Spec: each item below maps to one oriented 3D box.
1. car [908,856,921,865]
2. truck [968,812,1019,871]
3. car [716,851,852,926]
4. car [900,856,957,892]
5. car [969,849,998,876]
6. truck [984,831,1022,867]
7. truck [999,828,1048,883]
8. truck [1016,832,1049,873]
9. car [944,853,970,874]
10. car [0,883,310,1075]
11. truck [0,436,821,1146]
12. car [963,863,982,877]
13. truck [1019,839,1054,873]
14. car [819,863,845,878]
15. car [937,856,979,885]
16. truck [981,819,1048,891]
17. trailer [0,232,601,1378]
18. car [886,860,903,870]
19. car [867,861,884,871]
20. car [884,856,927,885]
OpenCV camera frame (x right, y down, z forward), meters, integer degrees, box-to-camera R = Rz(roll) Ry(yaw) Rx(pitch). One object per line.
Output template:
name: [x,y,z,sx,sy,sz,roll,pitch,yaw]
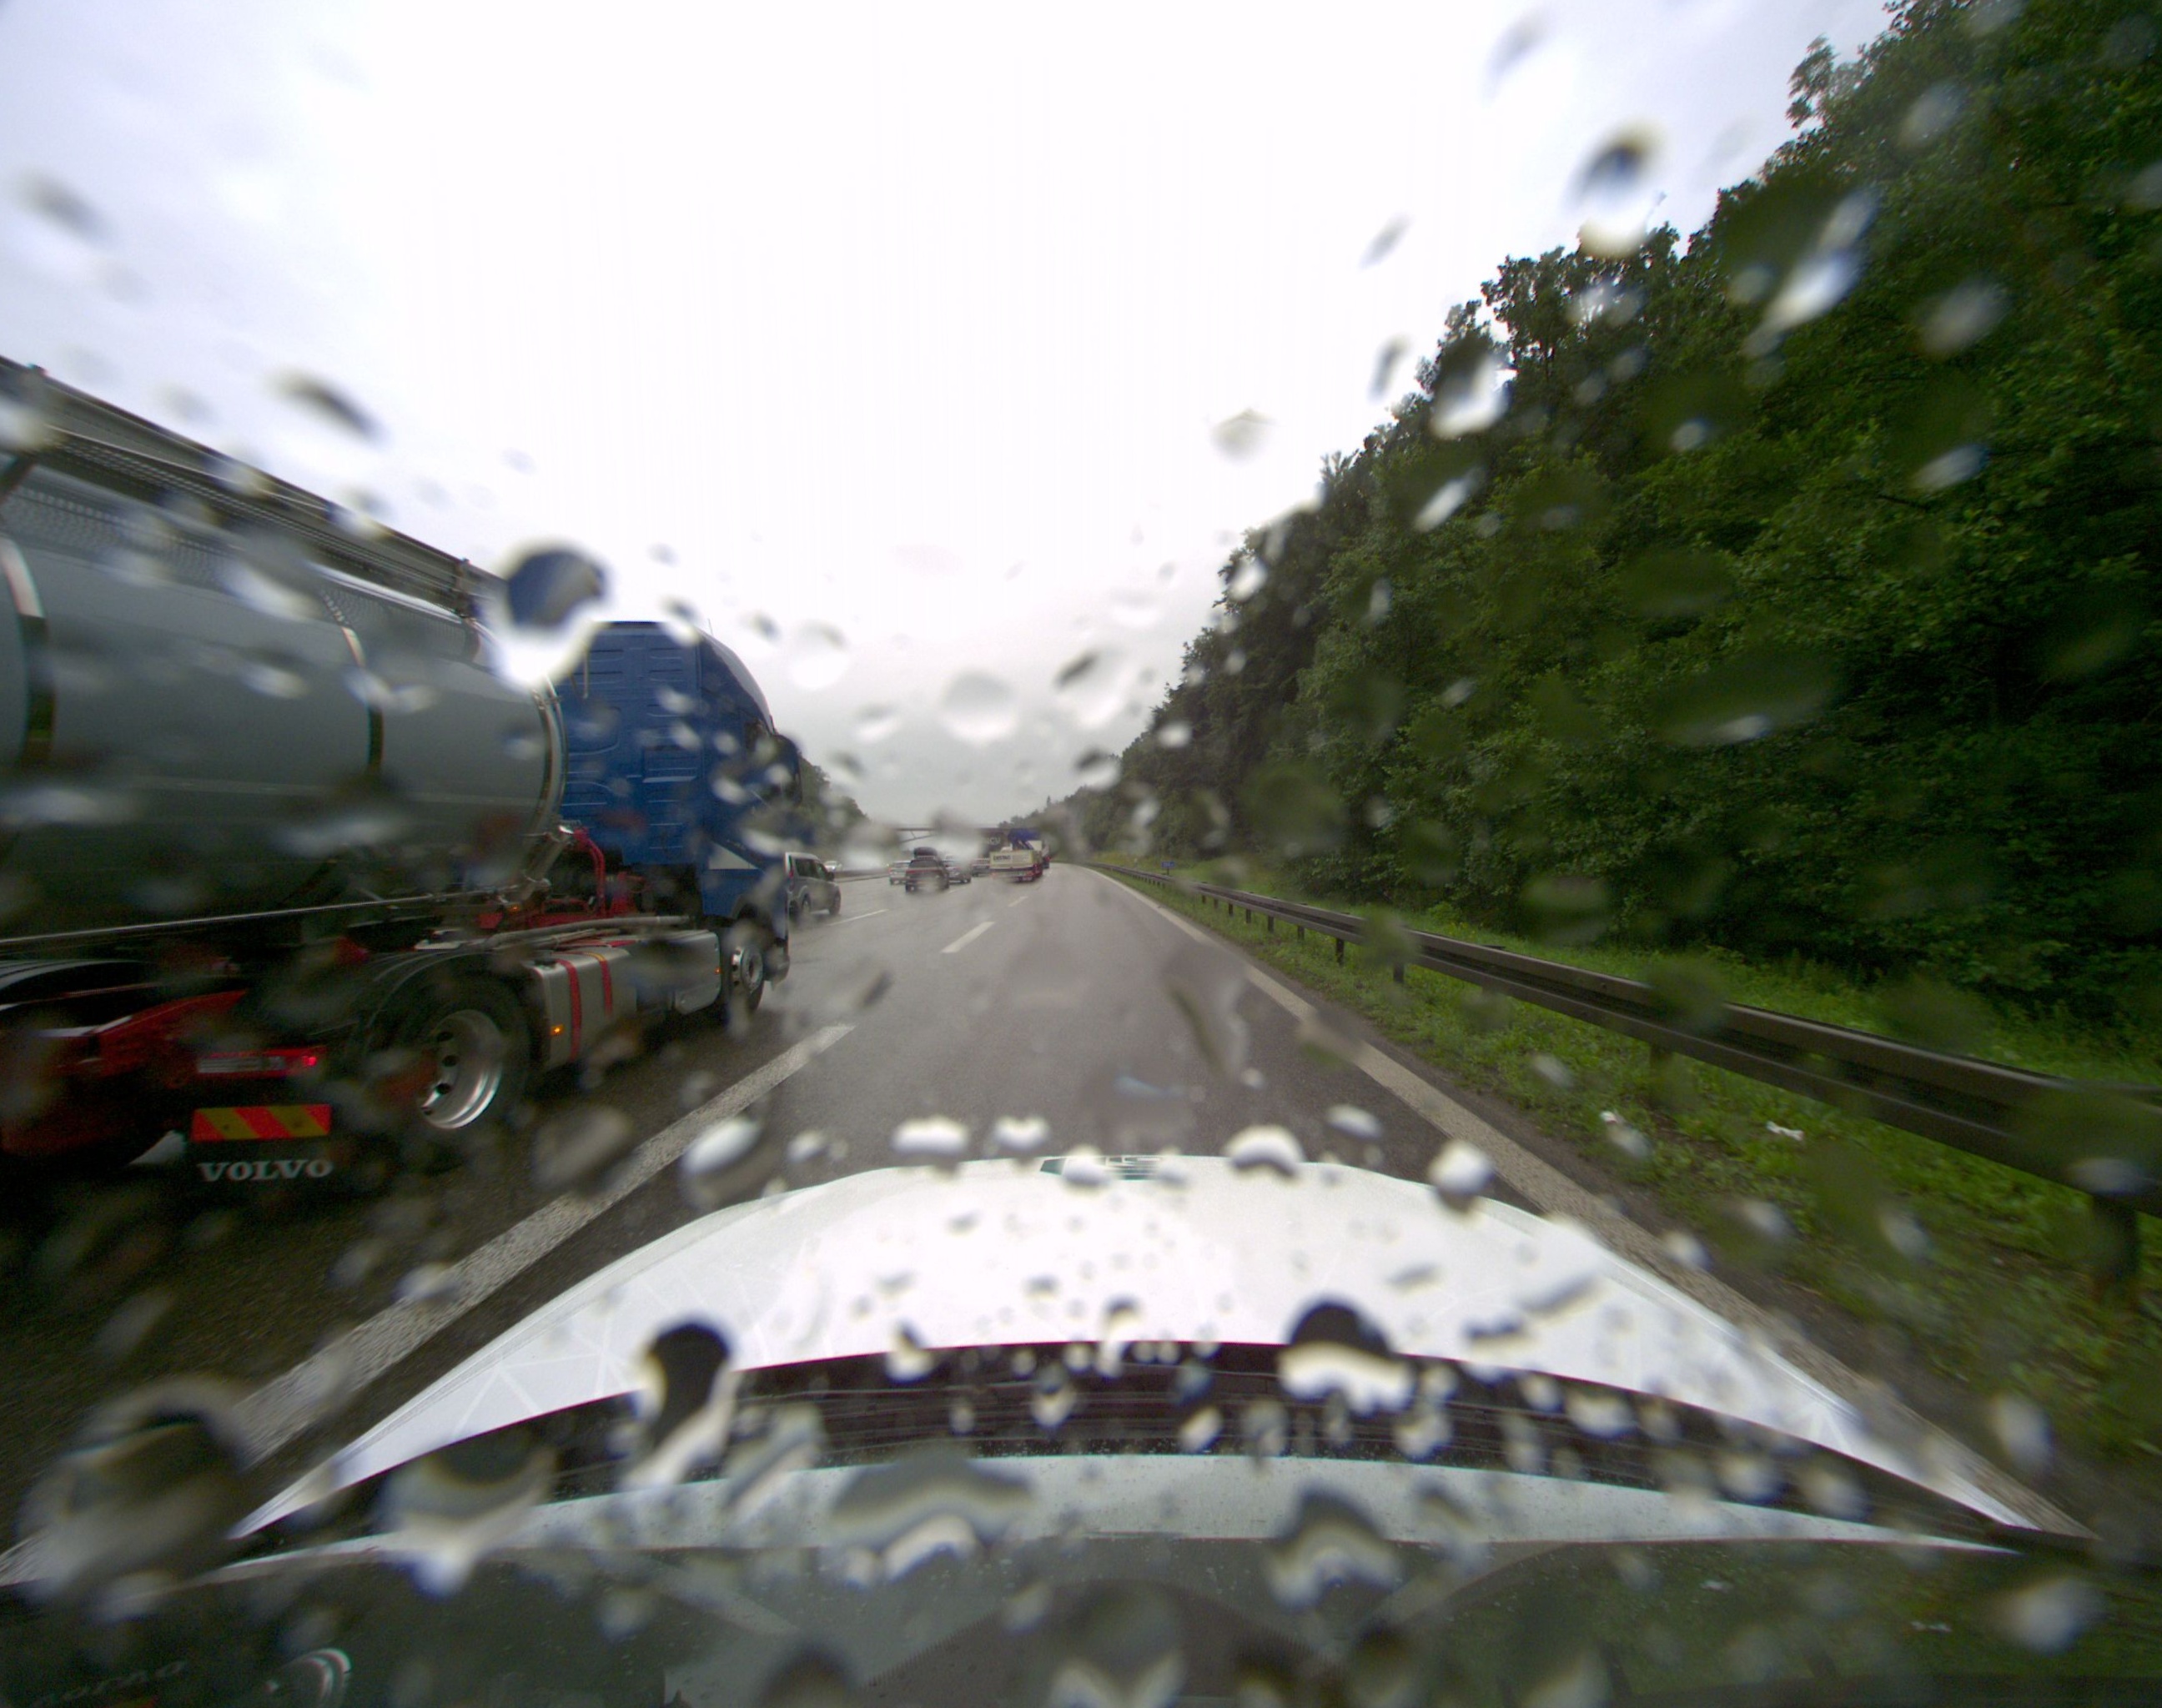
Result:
car: [-34.575,1.377,169.281,1.987,1.830,3.999,-1,0,0]
truck: [-8.824,-1.116,84.009,3.741,5.500,10.172,2,-2,1]
car: [-7.838,0.830,22.043,1.839,1.751,4.568,-2,0,1]
car: [-7.479,0.995,40.325,1.987,1.636,3.999,2,-2,0]
car: [-7.986,0.737,67.209,1.787,2.014,4.000,2,-2,1]
truck: [-9.657,-0.494,102.322,3.564,4.096,10.878,-1,-2,1]
truck: [-4.728,0.277,69.602,3.497,4.268,10.595,2,-2,-1]
truck: [-7.244,-0.114,123.434,4.324,5.764,9.723,2,-2,-1]
car: [-12.017,0.942,79.060,1.838,1.860,3.998,2,-2,0]
car: [-11.698,1.310,9.190,1.987,1.798,4.154,-1,0,1]
truck: [-4.486,-0.339,6.819,2.867,3.693,5.056,-1,0,1]
car: [-13.434,1.982,100.991,1.847,1.663,3.996,2,-2,-2]
truck: [-5.577,0.370,104.020,3.743,3.971,11.053,2,-2,-1]
car: [-30.866,2.039,101.159,1.987,1.830,3.999,-1,0,0]
car: [-7.446,0.965,49.643,1.932,1.662,4.000,-1,0,0]
truck: [-4.128,0.060,53.528,3.589,4.105,11.554,-1,0,-1]
trailer: [-4.551,-0.129,0.118,2.864,3.289,10.078,-1,0,0]
car: [-32.534,1.931,142.045,1.987,1.708,3.998,-1,0,-1]
car: [-37.463,2.142,148.324,1.987,1.784,3.999,-1,0,0]
car: [-11.505,1.093,53.588,1.779,1.747,4.000,2,-2,1]
